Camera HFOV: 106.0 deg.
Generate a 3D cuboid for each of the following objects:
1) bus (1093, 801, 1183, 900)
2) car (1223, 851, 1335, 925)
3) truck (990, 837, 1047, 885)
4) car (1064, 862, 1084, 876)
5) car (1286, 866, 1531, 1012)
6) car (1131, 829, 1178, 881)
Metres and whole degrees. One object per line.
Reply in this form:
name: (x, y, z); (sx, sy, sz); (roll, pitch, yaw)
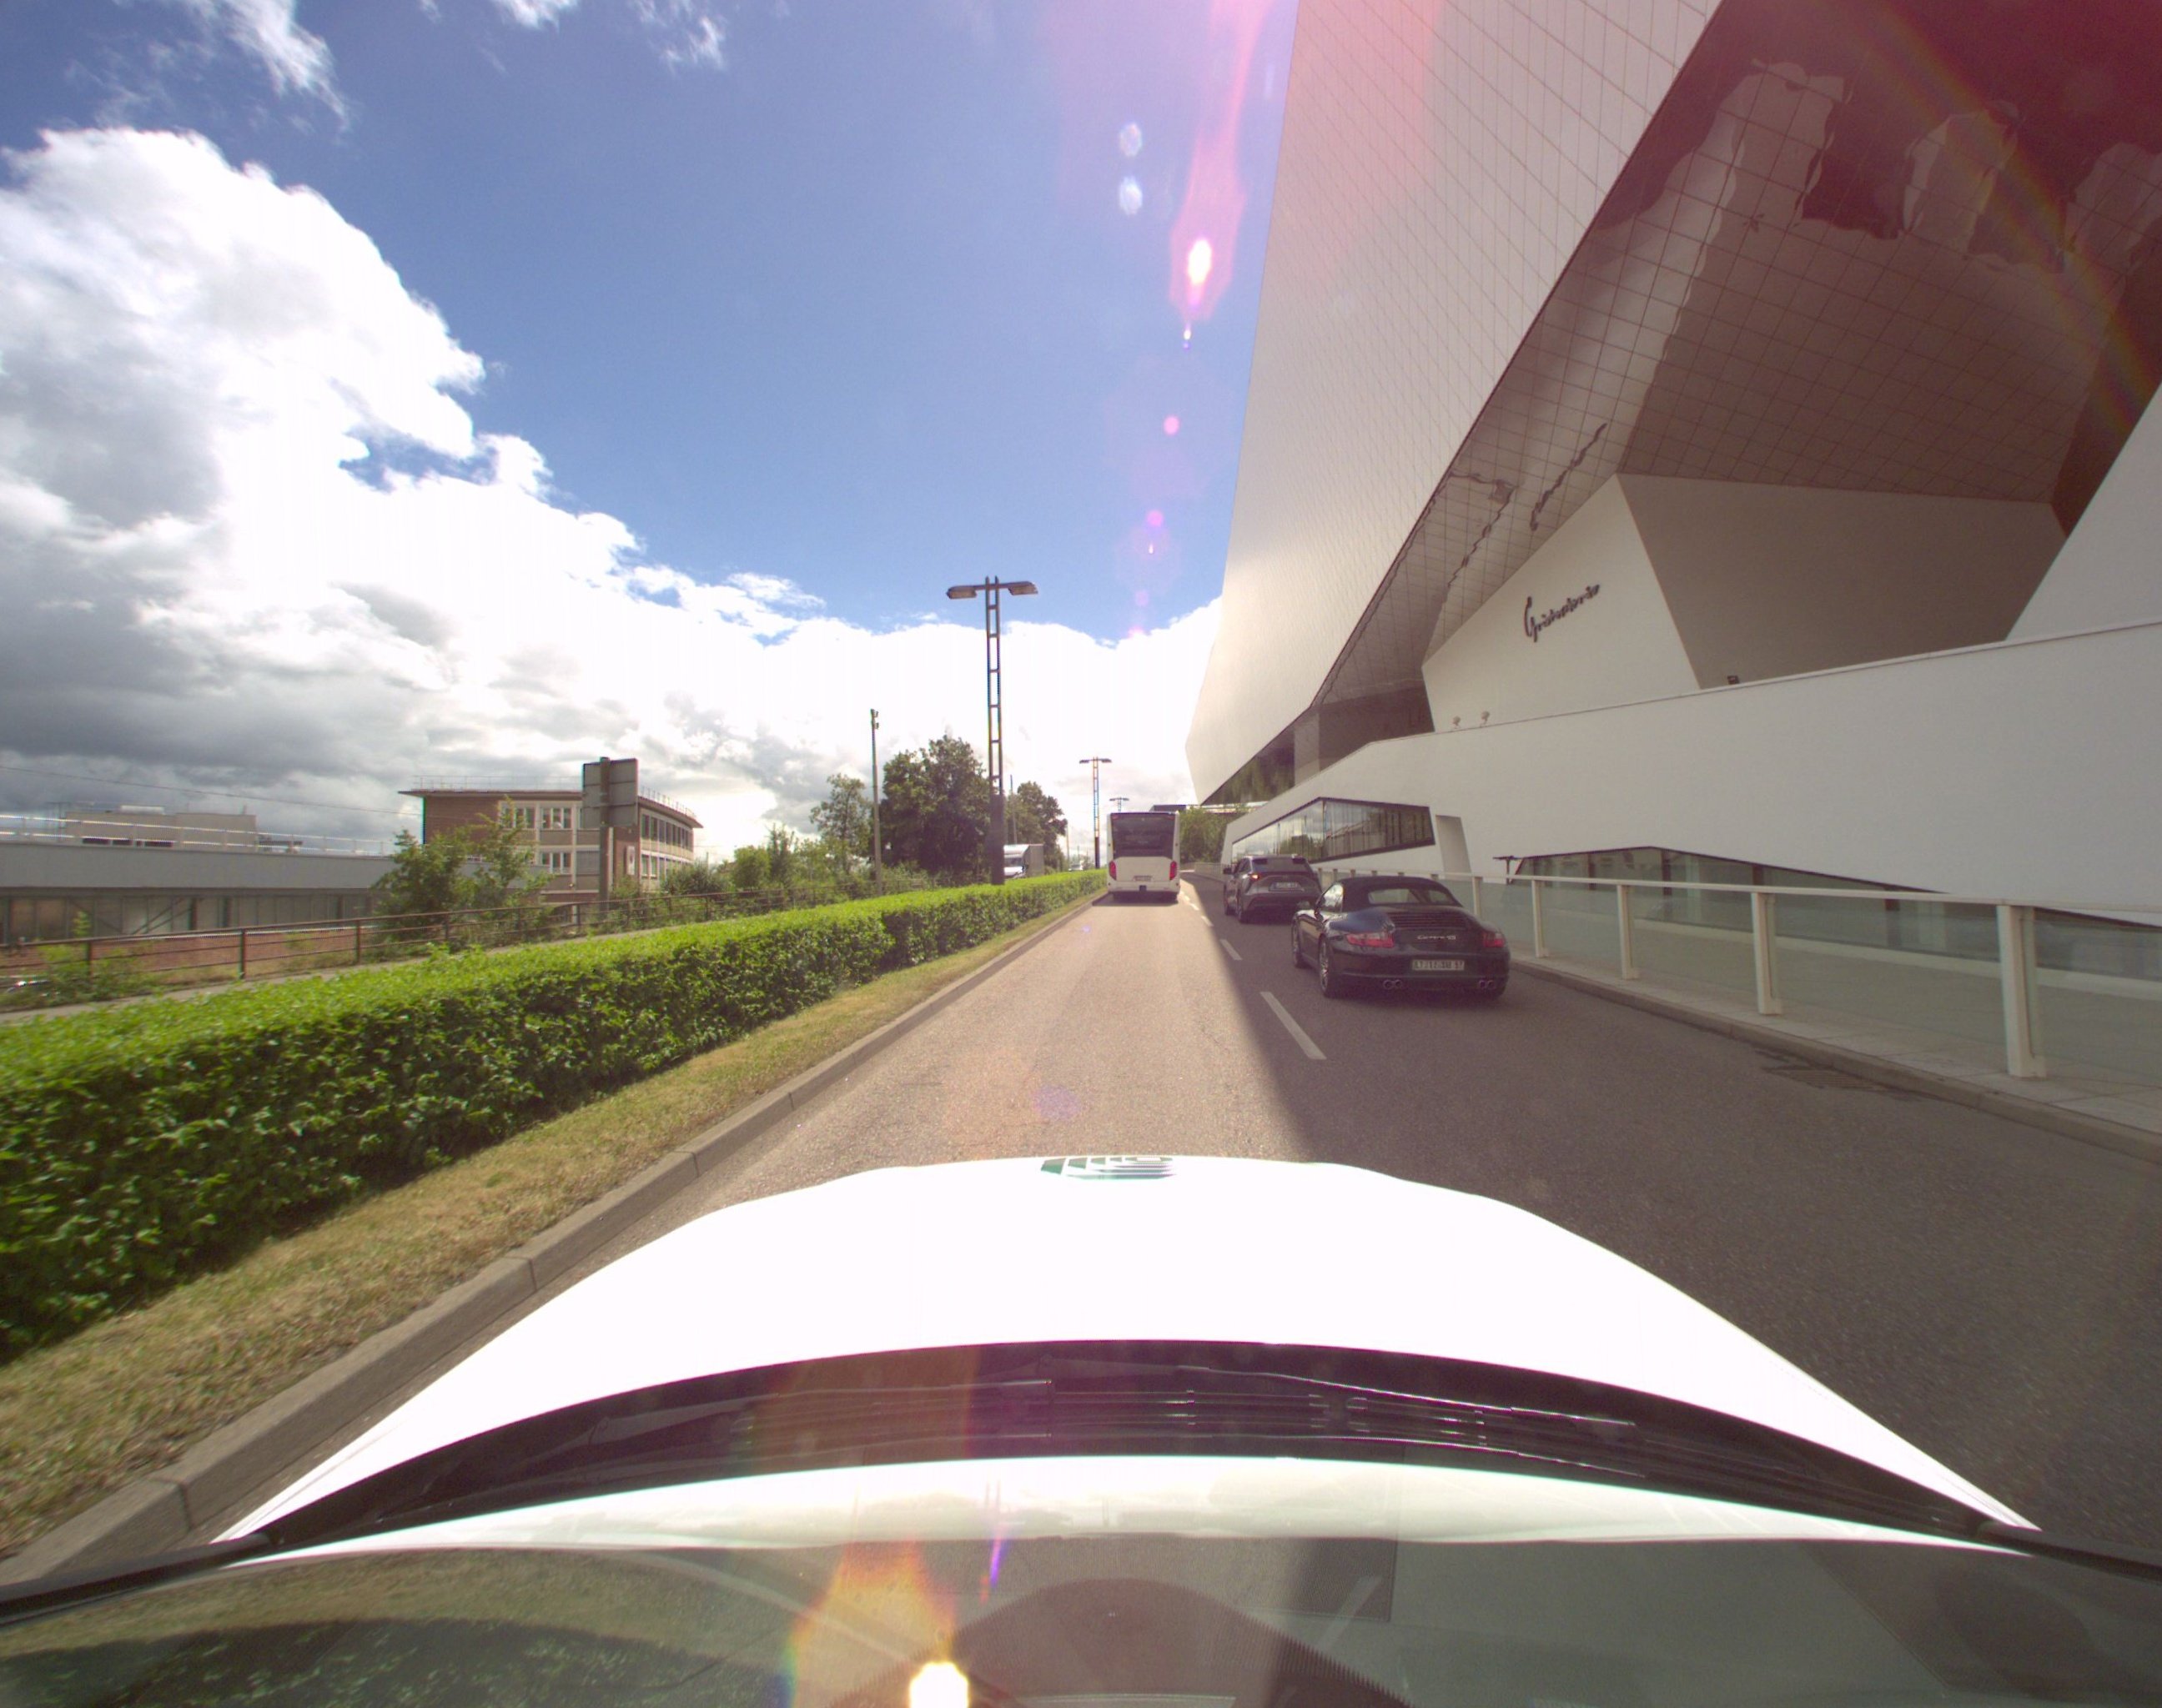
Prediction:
bus: (2.489, -0.036, 33.771); (3.057, 3.362, 12.240); (0, -1, 5)
car: (4.707, 0.751, 19.922); (1.985, 1.636, 4.003); (0, 0, 3)
truck: (-4.321, 0.600, 57.984); (2.183, 2.961, 8.968); (0, -3, 8)
car: (-0.840, 1.909, 103.414); (1.983, 1.713, 4.007); (0, -3, 7)
car: (3.633, 0.855, 9.813); (1.824, 1.325, 4.009); (-2, 0, 8)
car: (5.580, 0.202, 63.046); (3.320, 3.505, 9.349); (0, -3, 4)
